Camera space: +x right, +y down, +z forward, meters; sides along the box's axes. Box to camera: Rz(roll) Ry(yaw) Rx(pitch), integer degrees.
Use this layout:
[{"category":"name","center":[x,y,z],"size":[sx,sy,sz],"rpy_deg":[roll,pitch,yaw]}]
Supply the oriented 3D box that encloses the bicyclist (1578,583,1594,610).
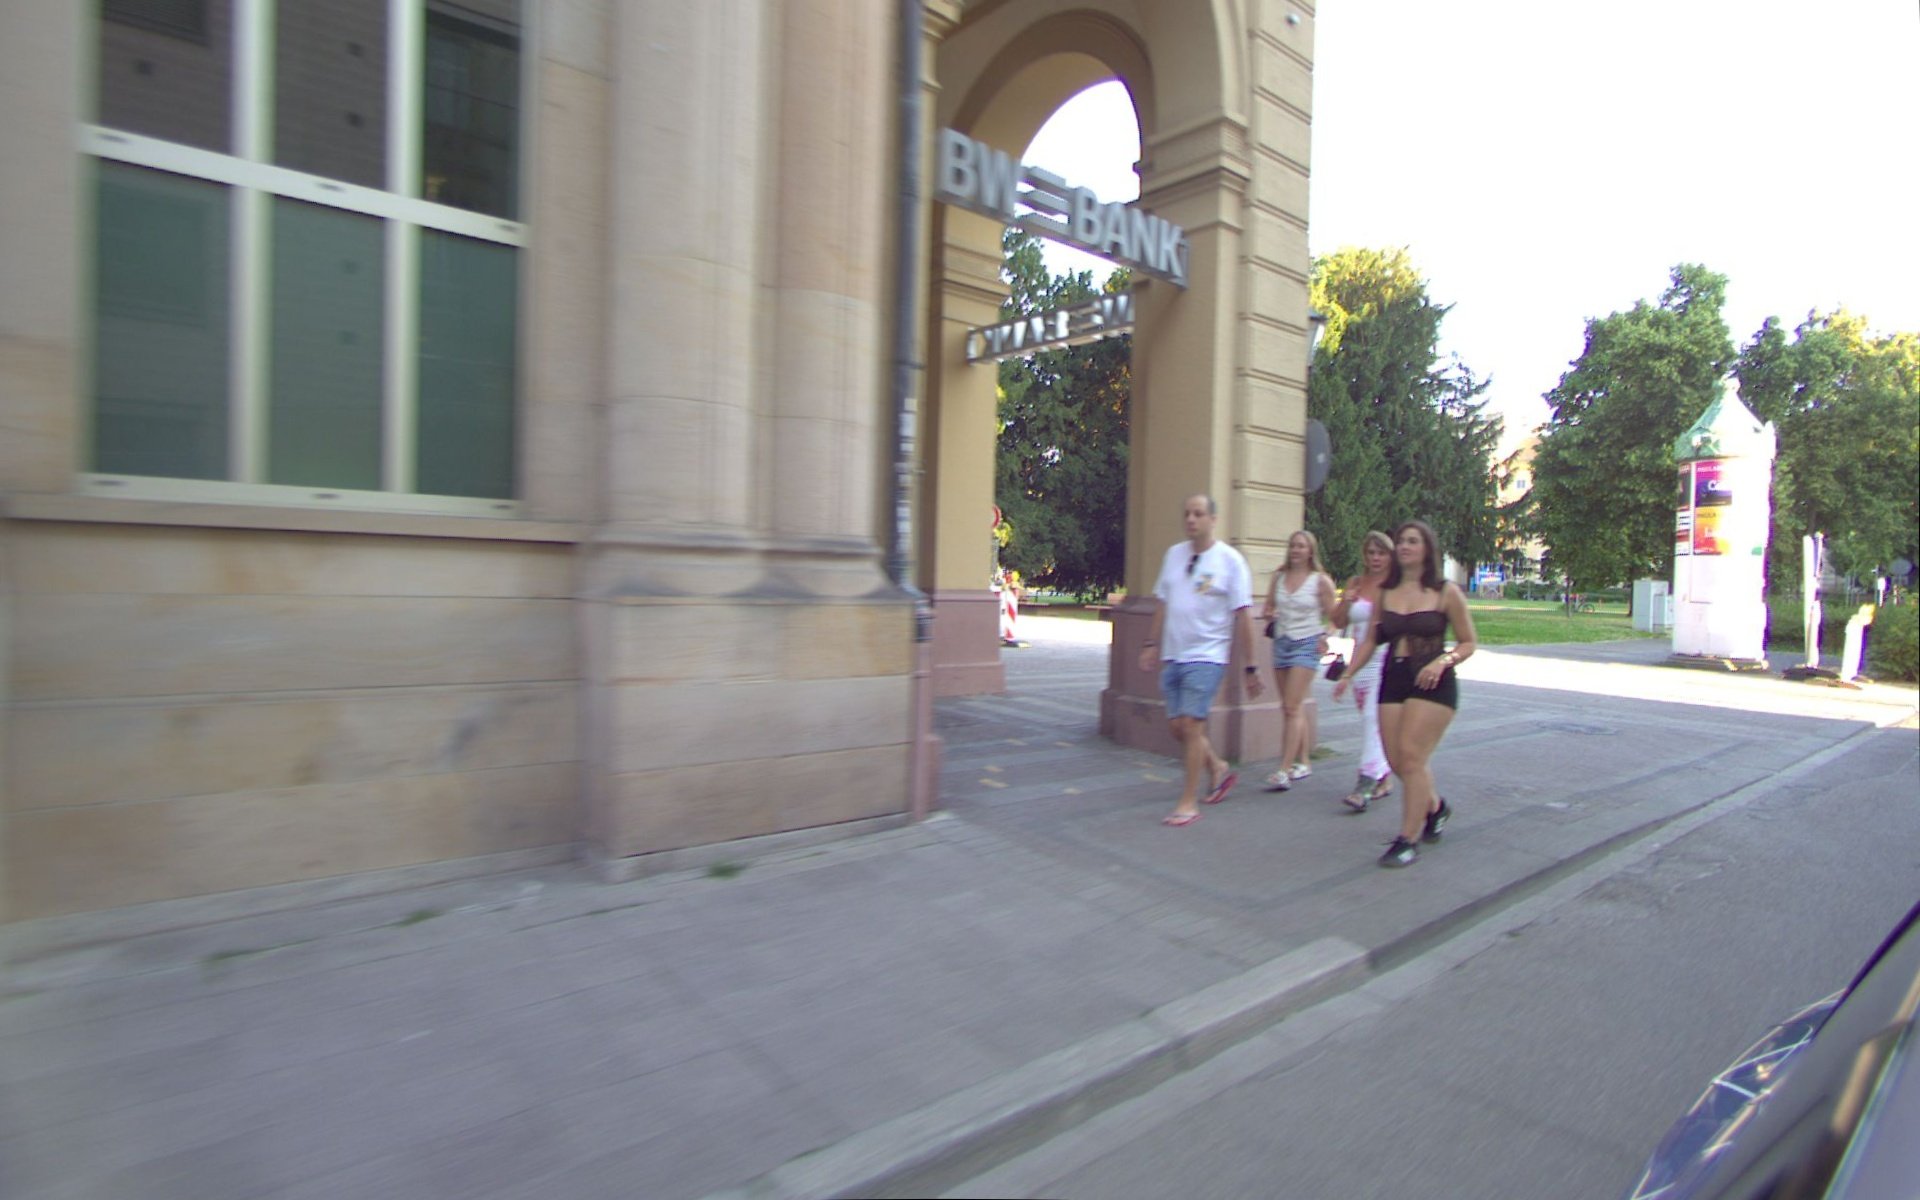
[{"category":"bicyclist","center":[39.960,-0.231,64.589],"size":[0.668,1.652,0.656],"rpy_deg":[2,1,16]}]

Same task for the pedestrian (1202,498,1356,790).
[{"category":"pedestrian","center":[2.145,0.262,6.805],"size":[0.758,1.825,0.637],"rpy_deg":[0,2,-41]}]

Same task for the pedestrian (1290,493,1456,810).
[{"category":"pedestrian","center":[2.573,0.282,6.312],"size":[0.758,1.825,0.637],"rpy_deg":[0,2,-41]}]

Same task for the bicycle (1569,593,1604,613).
[{"category":"bicycle","center":[39.956,0.208,64.584],"size":[1.750,1.191,0.563],"rpy_deg":[2,1,16]}]

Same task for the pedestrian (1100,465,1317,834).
[{"category":"pedestrian","center":[1.415,0.239,5.787],"size":[0.860,1.898,0.813],"rpy_deg":[0,2,-41]}]

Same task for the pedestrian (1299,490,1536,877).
[{"category":"pedestrian","center":[2.344,0.367,5.194],"size":[0.860,1.768,0.777],"rpy_deg":[0,2,-41]}]

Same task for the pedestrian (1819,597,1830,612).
[{"category":"pedestrian","center":[75.473,0.399,88.361],"size":[0.594,1.217,0.394],"rpy_deg":[2,1,10]}]
